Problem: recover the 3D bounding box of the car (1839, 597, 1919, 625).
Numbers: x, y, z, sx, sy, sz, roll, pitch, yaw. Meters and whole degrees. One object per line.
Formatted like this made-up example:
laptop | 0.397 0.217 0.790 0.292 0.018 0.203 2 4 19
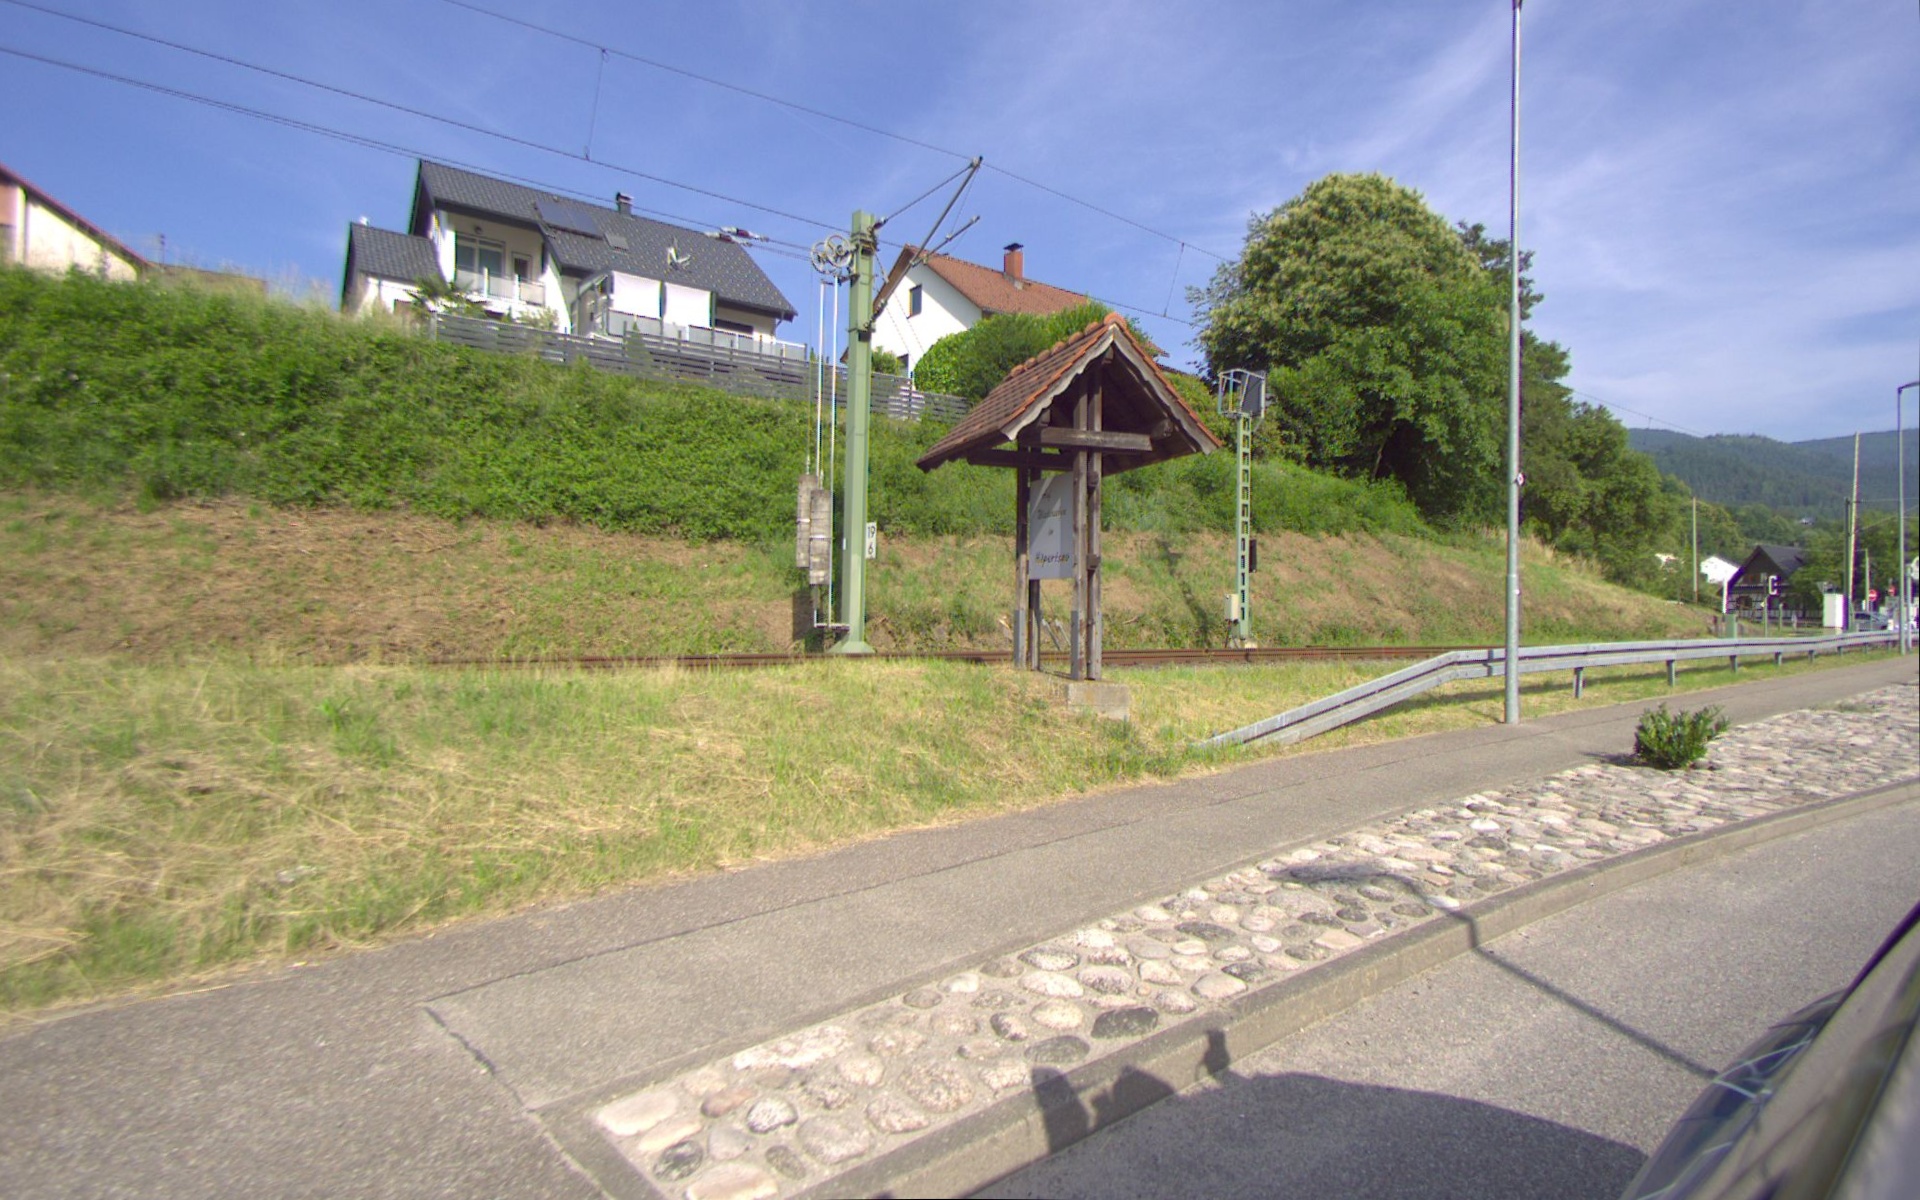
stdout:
car | 58.346 0.678 63.724 1.797 1.708 4.132 1 -1 -25
